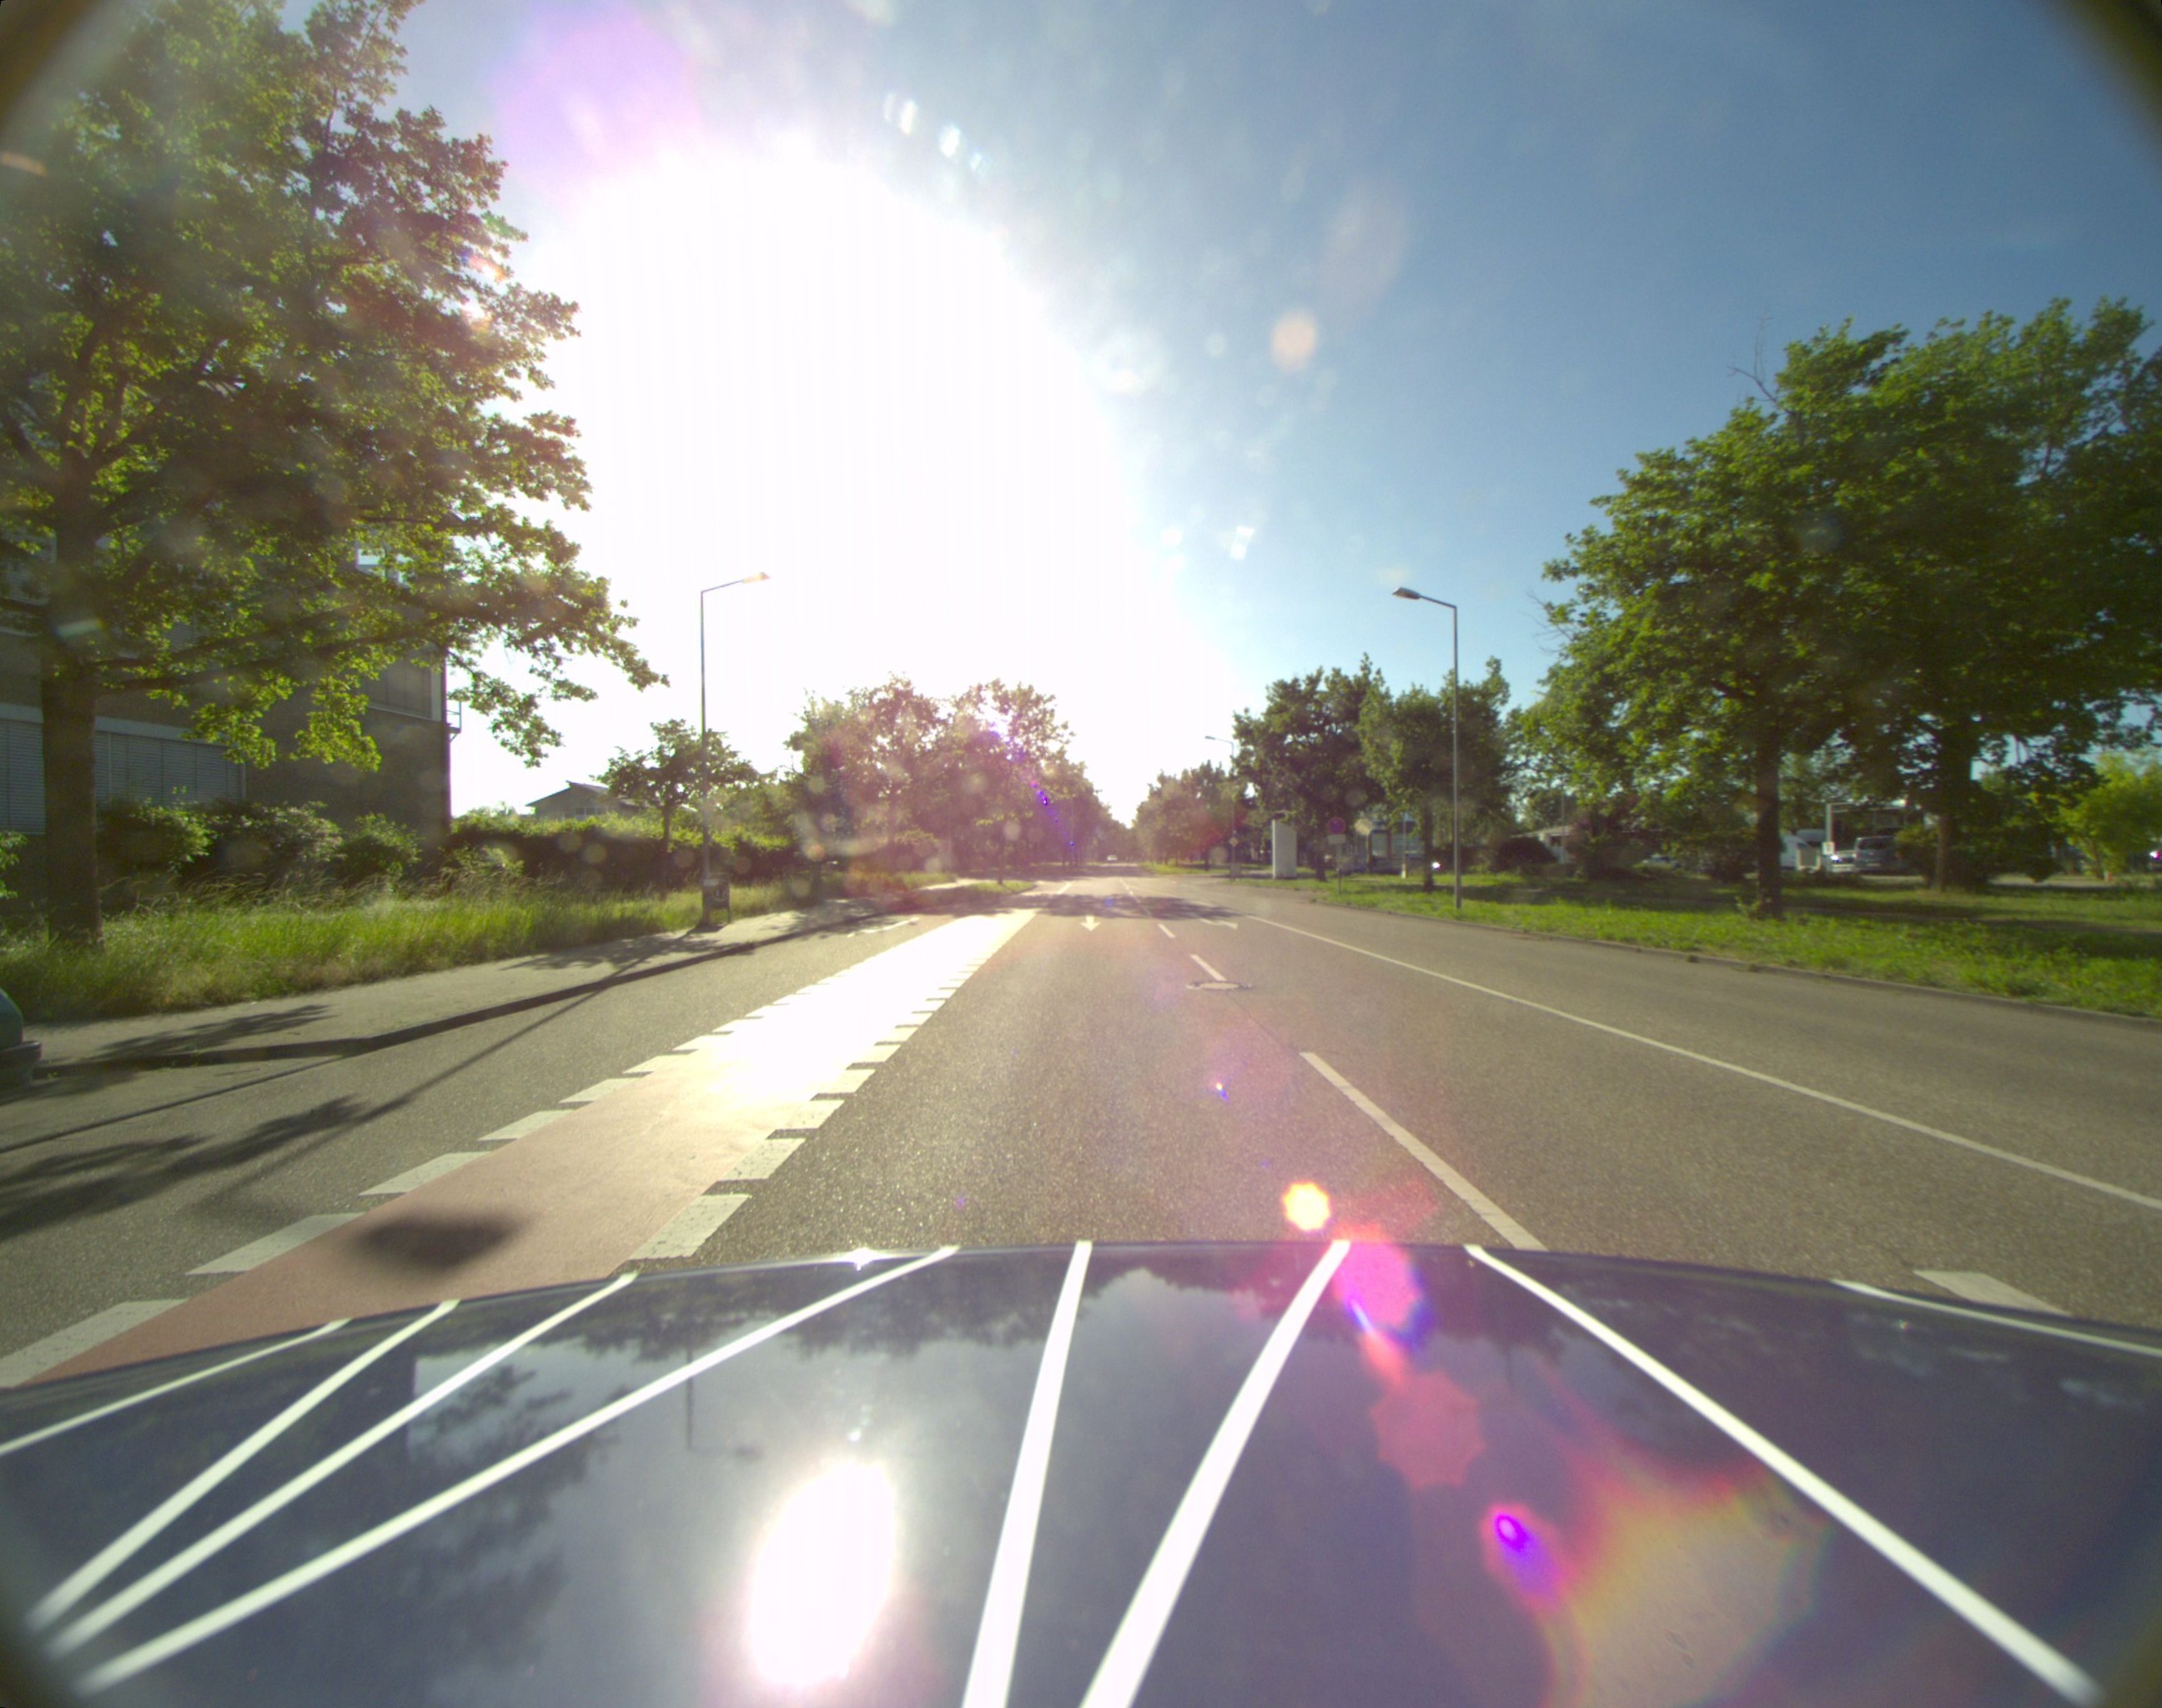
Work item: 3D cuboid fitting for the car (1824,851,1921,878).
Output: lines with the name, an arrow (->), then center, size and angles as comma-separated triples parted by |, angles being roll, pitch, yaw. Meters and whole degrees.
car -> 41.182, 0.527, 39.588 | 3.532, 1.294, 1.574 | -1, 0, -2

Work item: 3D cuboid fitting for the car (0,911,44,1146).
car -> -7.466, 1.081, 2.753 | 1.596, 1.420, 4.204 | 1, 1, 2

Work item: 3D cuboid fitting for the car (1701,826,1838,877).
car -> 40.402, -0.169, 44.698 | 6.176, 2.687, 2.300 | -2, 1, -3

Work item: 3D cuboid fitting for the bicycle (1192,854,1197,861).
bicycle -> 19.466, 0.587, 130.215 | 0.552, 1.155, 2.334 | -2, 1, 3

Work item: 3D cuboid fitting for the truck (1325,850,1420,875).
truck -> 24.434, 0.705, 63.837 | 7.130, 2.038, 2.140 | 0, 1, -2

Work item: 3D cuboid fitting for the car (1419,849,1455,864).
car -> 39.443, 0.271, 84.294 | 1.998, 1.486, 4.296 | -2, 2, 0

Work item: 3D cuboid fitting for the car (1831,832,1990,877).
car -> 40.306, 0.031, 37.002 | 5.424, 2.058, 2.300 | -1, 0, -3

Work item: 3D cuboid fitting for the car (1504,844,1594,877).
car -> 39.939, 0.518, 64.892 | 6.356, 2.501, 2.300 | -2, 1, -3

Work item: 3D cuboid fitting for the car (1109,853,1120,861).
car -> 6.553, 0.592, 148.913 | 1.827, 1.477, 3.999 | -2, 1, 1

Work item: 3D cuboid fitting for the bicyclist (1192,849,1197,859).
bicyclist -> 19.444, 0.014, 130.347 | 0.665, 1.619, 0.659 | -2, 1, 3
